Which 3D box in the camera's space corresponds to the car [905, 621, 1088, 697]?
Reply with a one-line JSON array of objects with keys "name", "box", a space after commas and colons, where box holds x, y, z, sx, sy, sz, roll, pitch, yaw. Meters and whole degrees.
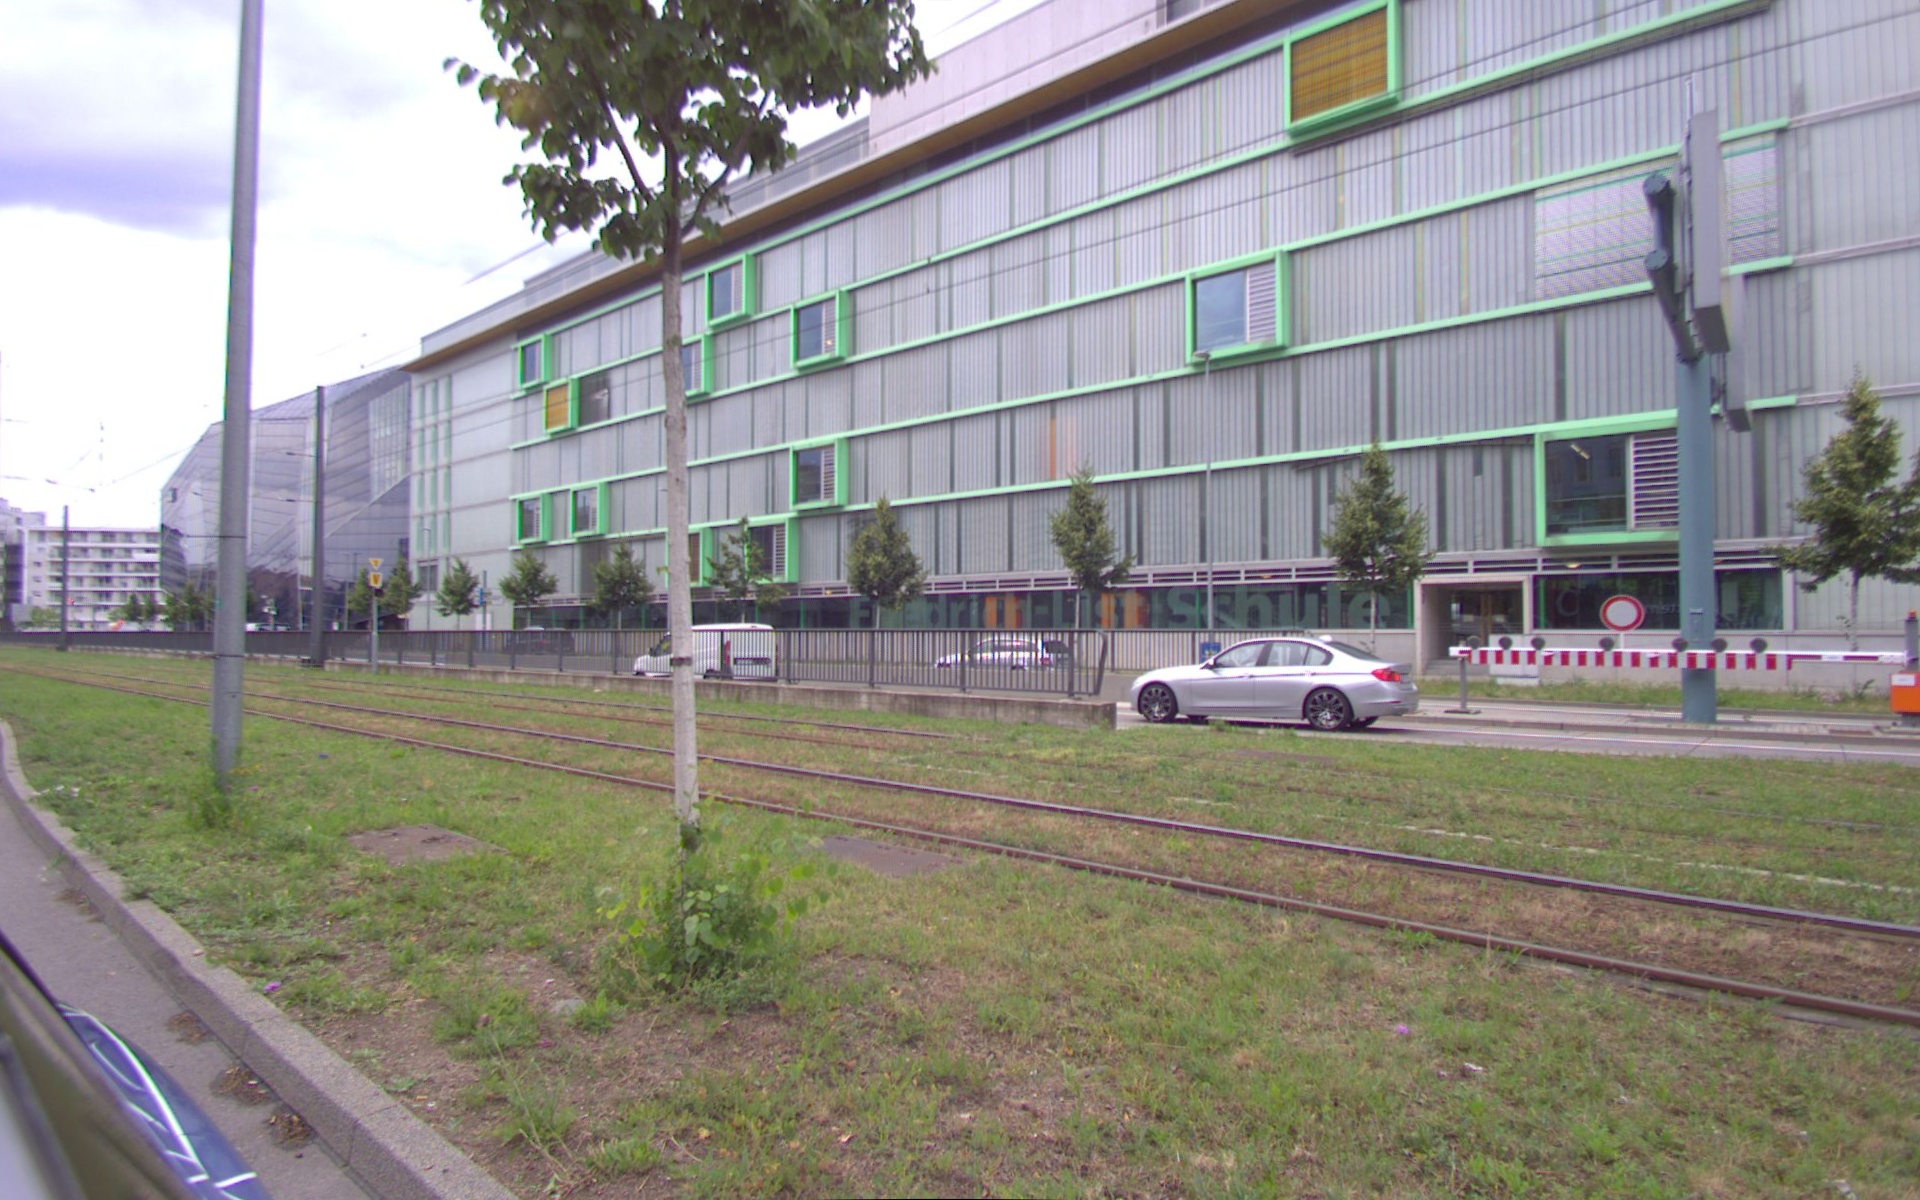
[{"name": "car", "box": [0.970, 1.644, 29.465, 5.292, 2.029, 1.972, -2, -2, 42]}]

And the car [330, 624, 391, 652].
[{"name": "car", "box": [-37.882, 2.368, 63.894, 4.645, 1.679, 1.972, -1, -3, 42]}]

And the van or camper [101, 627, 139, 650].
[{"name": "van or camper", "box": [-87.584, 3.987, 105.479, 6.503, 2.304, 2.150, -2, -2, 42]}]

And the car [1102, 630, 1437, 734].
[{"name": "car", "box": [4.884, 1.270, 16.416, 4.913, 1.456, 1.712, -2, -4, 37]}]

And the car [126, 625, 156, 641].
[{"name": "car", "box": [-92.647, 3.728, 114.474, 4.766, 1.605, 1.972, -4, -4, 43]}]

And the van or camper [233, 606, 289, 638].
[{"name": "van or camper", "box": [-52.255, 1.645, 75.631, 5.356, 2.304, 2.150, -2, -3, 41]}]

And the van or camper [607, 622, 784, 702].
[{"name": "van or camper", "box": [-7.031, 1.571, 26.604, 5.120, 1.915, 1.870, -1, -3, 40]}]

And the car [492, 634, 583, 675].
[{"name": "car", "box": [-19.935, 2.530, 47.671, 4.965, 1.837, 1.972, -2, -2, 42]}]
